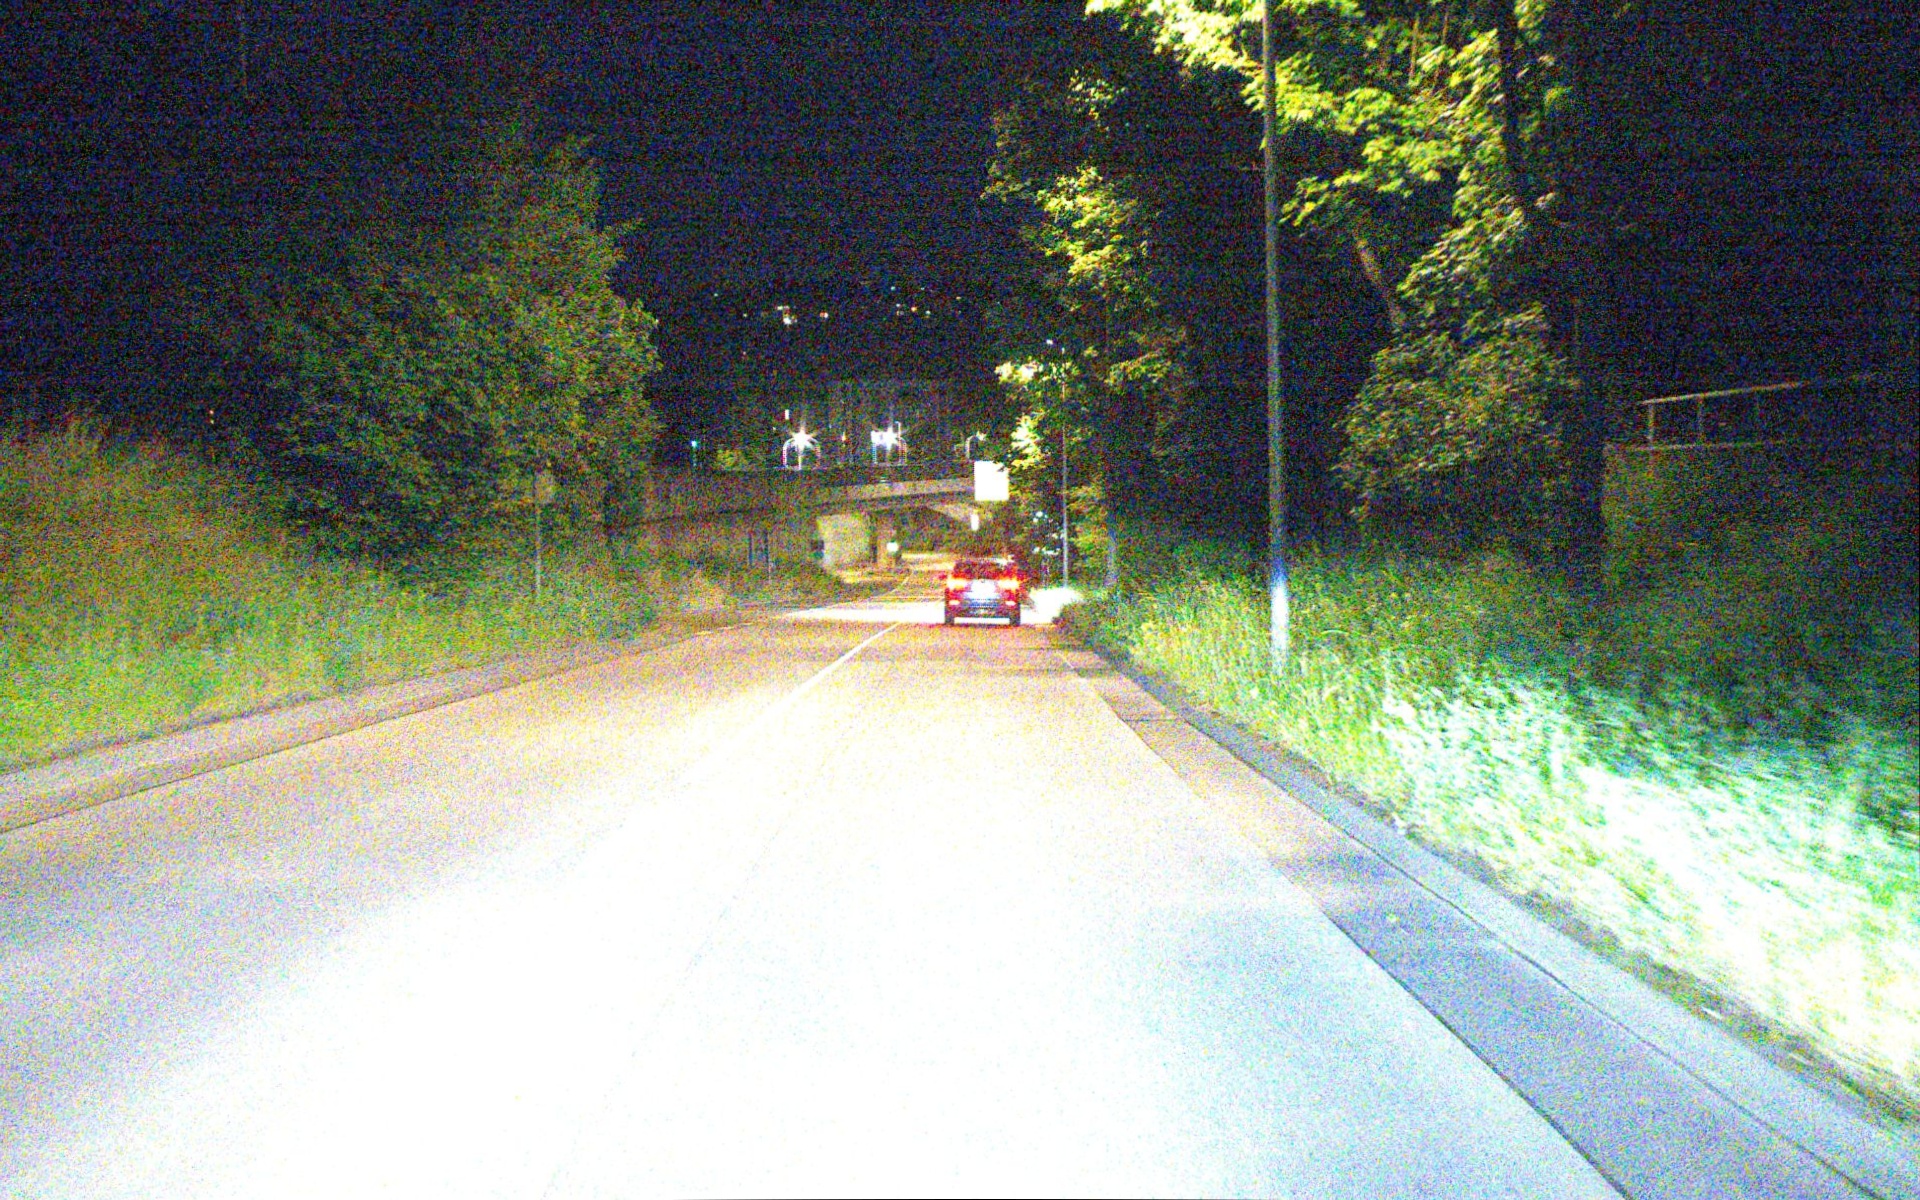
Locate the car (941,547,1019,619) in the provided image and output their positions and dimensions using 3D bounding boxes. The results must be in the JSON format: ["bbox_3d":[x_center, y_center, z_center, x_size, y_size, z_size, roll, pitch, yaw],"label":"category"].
[{"bbox_3d":[0.487,-0.422,81.735,1.763,1.636,3.723,0,1,2],"label":"car"}]
